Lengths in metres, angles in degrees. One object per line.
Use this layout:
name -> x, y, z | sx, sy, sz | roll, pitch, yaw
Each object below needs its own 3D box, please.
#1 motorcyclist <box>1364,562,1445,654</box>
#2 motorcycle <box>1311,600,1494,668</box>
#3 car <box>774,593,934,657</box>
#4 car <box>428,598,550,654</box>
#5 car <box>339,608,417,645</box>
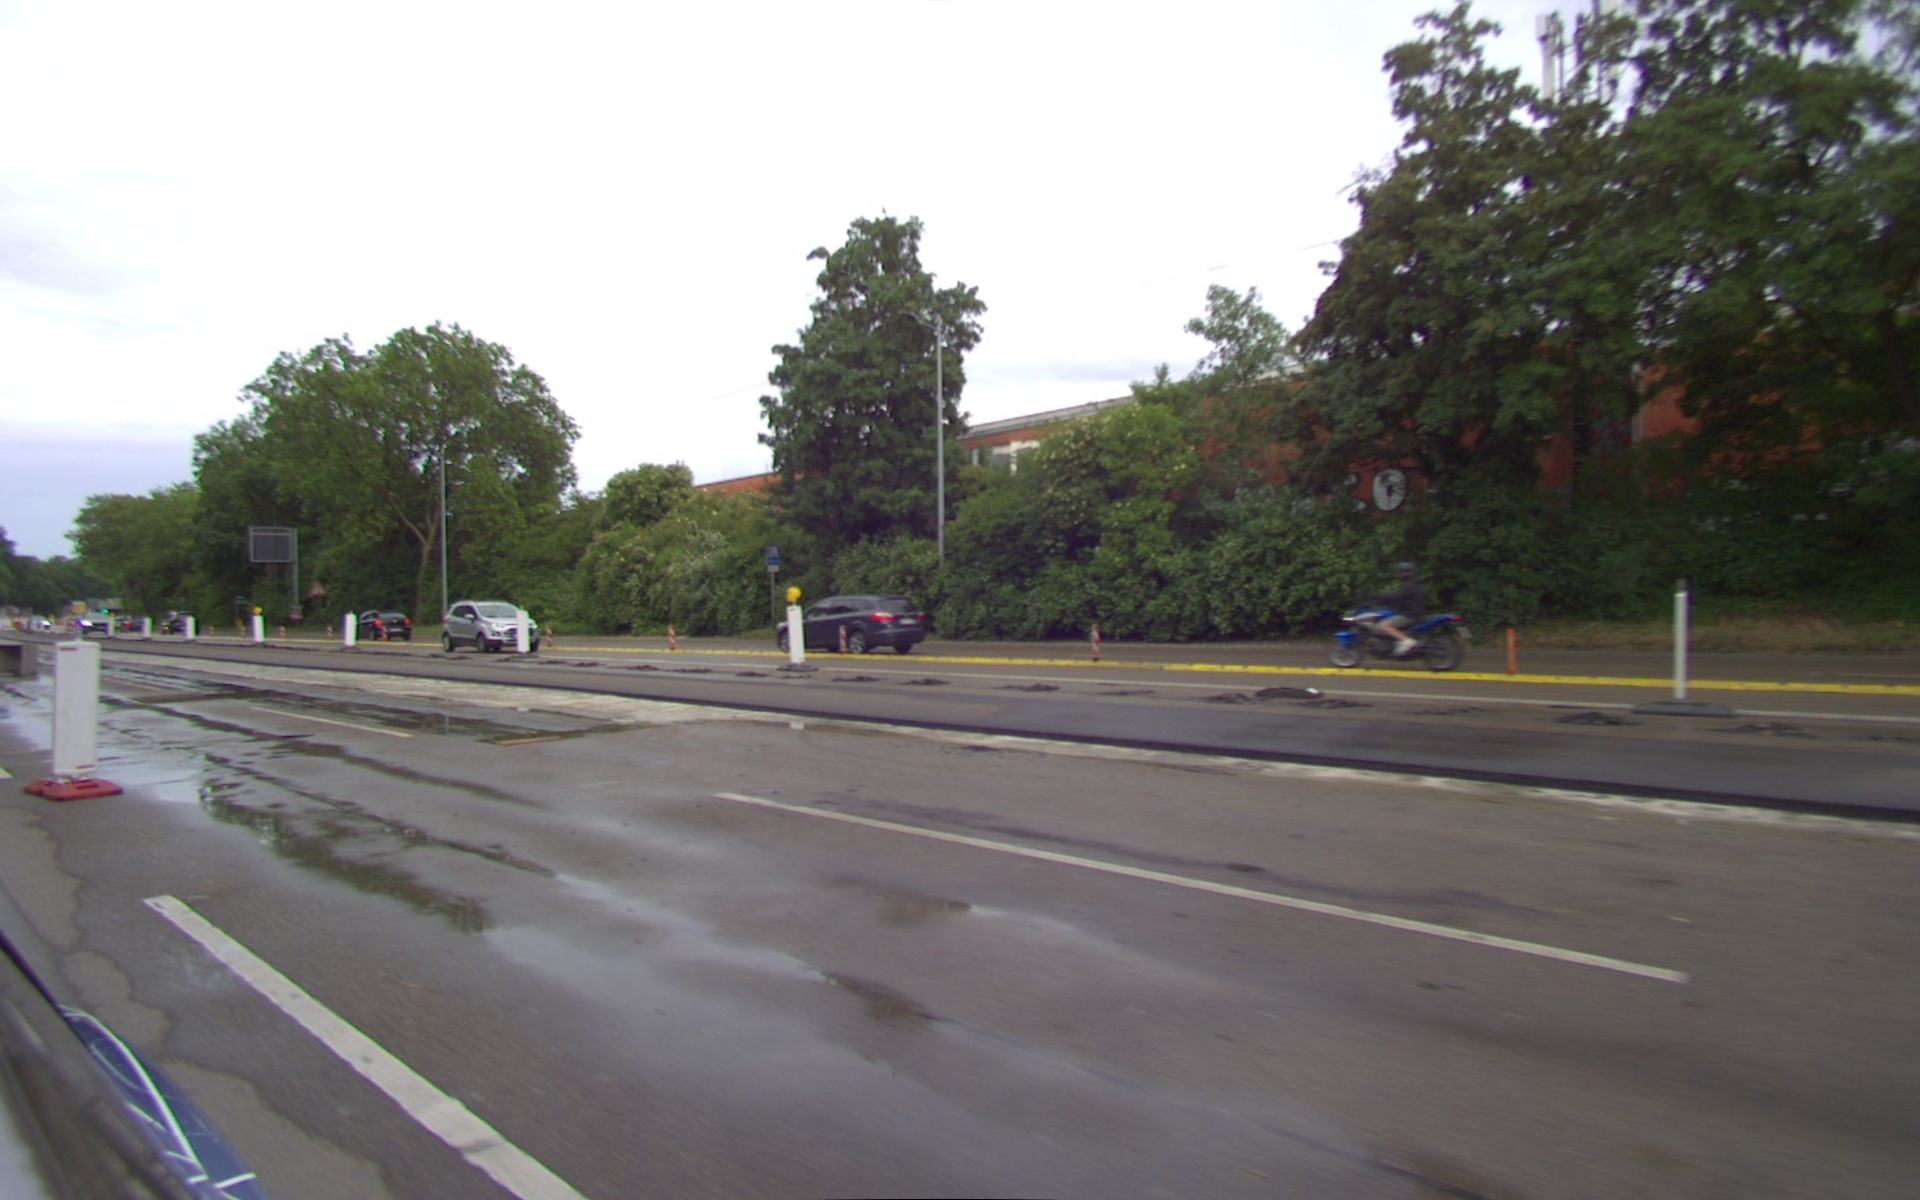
motorcyclist -> 7.235, 0.127, 16.471 | 0.975, 1.421, 0.805 | -1, 2, 41
motorcycle -> 7.180, 0.539, 16.528 | 2.592, 0.996, 0.800 | -1, 2, 41
car -> -2.746, 0.611, 25.616 | 4.106, 1.453, 1.670 | -1, 1, 41
car -> -14.945, 0.803, 32.002 | 4.362, 1.575, 1.869 | -1, 1, 41
car -> -27.629, 1.255, 47.989 | 4.396, 1.563, 1.869 | -1, 2, 41
